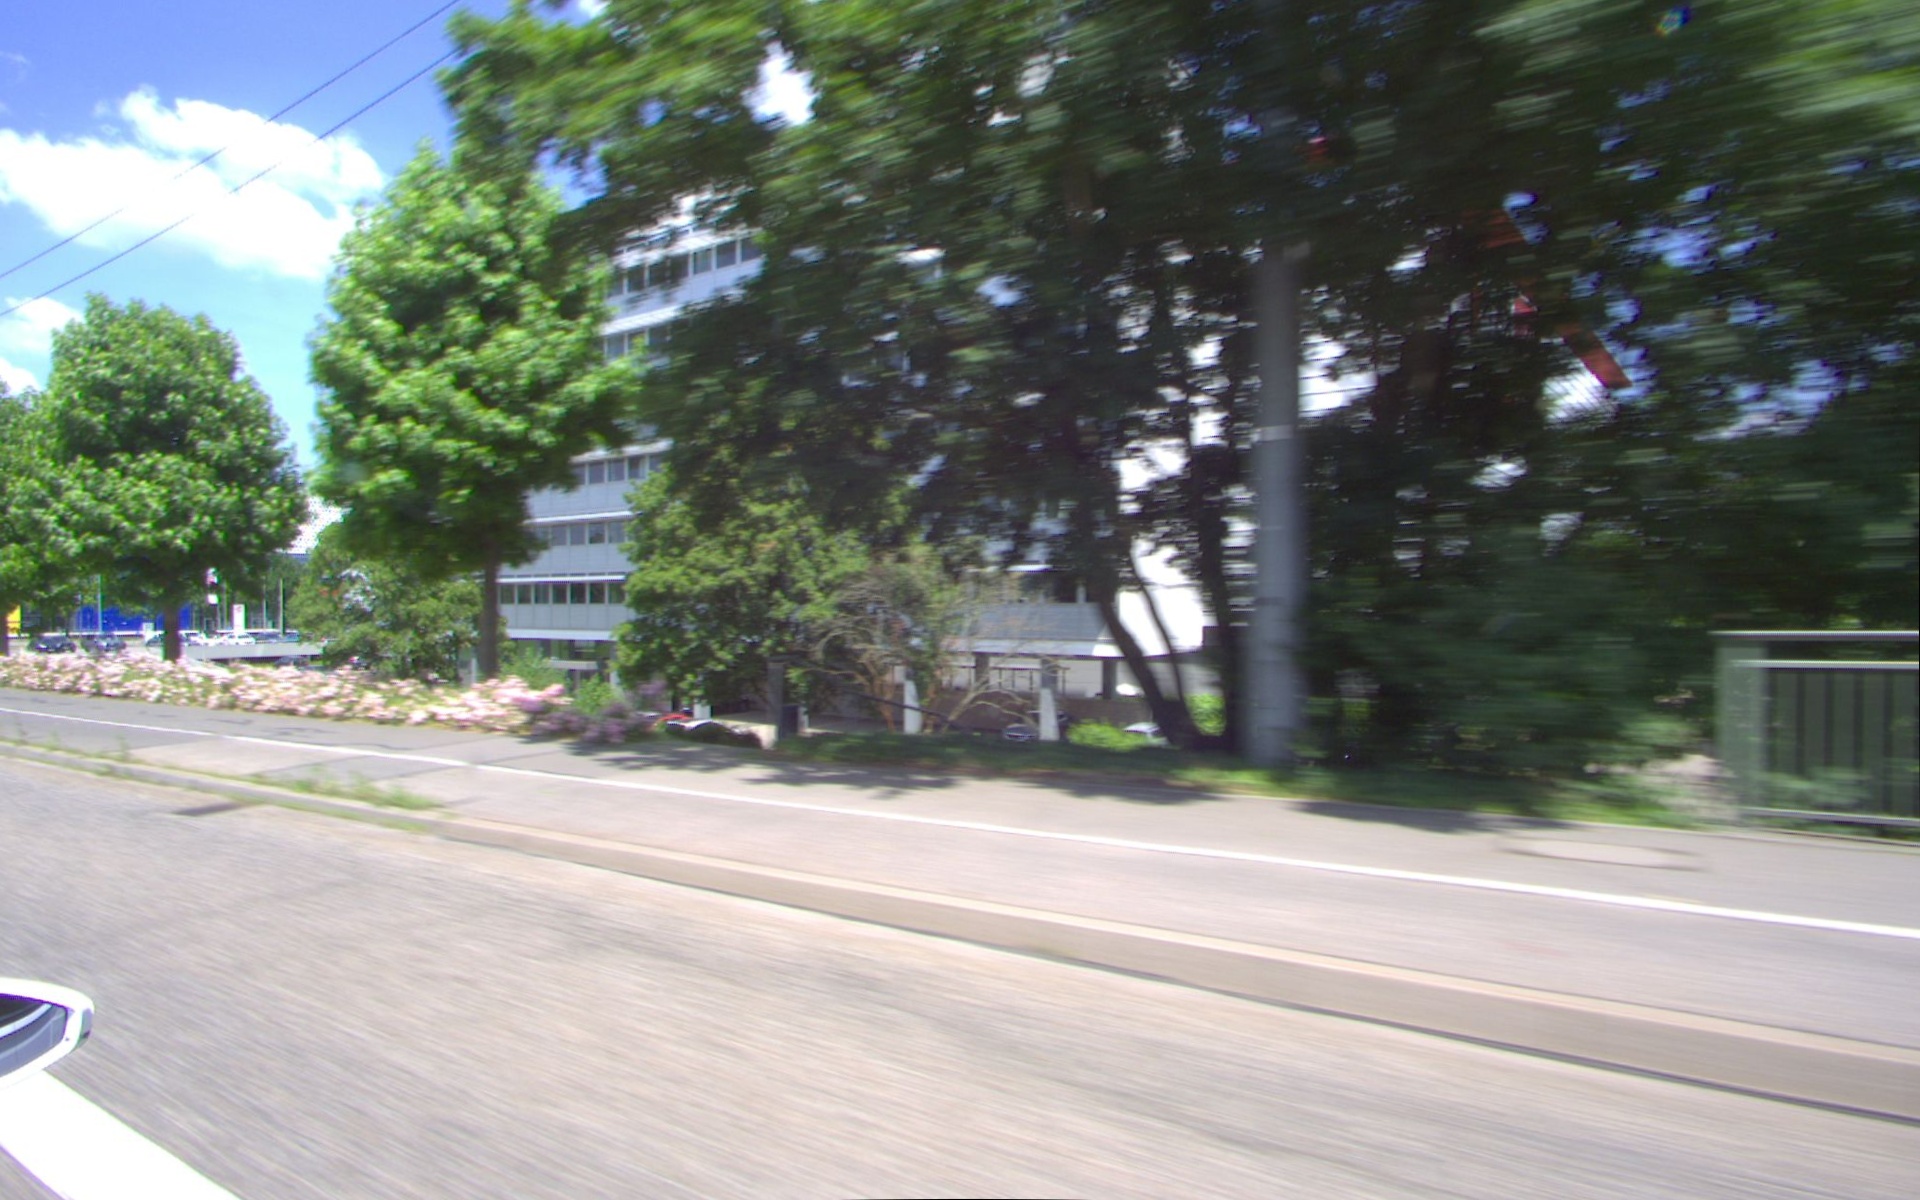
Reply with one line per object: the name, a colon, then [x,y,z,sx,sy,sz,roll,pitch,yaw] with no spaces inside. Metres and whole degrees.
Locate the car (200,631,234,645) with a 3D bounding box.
car: [-79.599,4.048,107.302,3.831,1.501,1.569,0,-2,31]

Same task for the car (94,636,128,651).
car: [-88.815,4.542,104.708,3.831,1.501,1.569,0,-2,31]

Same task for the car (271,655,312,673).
car: [-61.149,5.838,91.577,3.907,1.501,1.738,-1,-2,33]

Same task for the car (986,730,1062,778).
car: [2.317,5.414,35.593,1.354,1.268,3.361,0,-2,30]

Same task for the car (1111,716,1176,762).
car: [7.725,5.785,41.945,1.523,1.536,3.358,0,-2,33]

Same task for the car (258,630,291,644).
car: [-75.226,4.067,109.858,3.831,1.501,1.569,0,-2,31]

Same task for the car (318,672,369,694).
car: [-47.168,6.325,76.589,4.029,1.501,1.738,-1,-2,33]

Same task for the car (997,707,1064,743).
car: [3.187,5.557,44.732,1.439,1.302,3.355,-1,-2,36]

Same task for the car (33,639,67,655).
car: [-92.890,4.786,102.208,3.831,1.501,1.569,0,-2,31]

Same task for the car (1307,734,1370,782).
car: [14.355,5.923,37.898,1.572,1.360,3.358,0,-2,33]

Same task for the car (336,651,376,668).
car: [-57.432,5.673,95.190,3.907,1.501,1.738,-1,-2,33]
